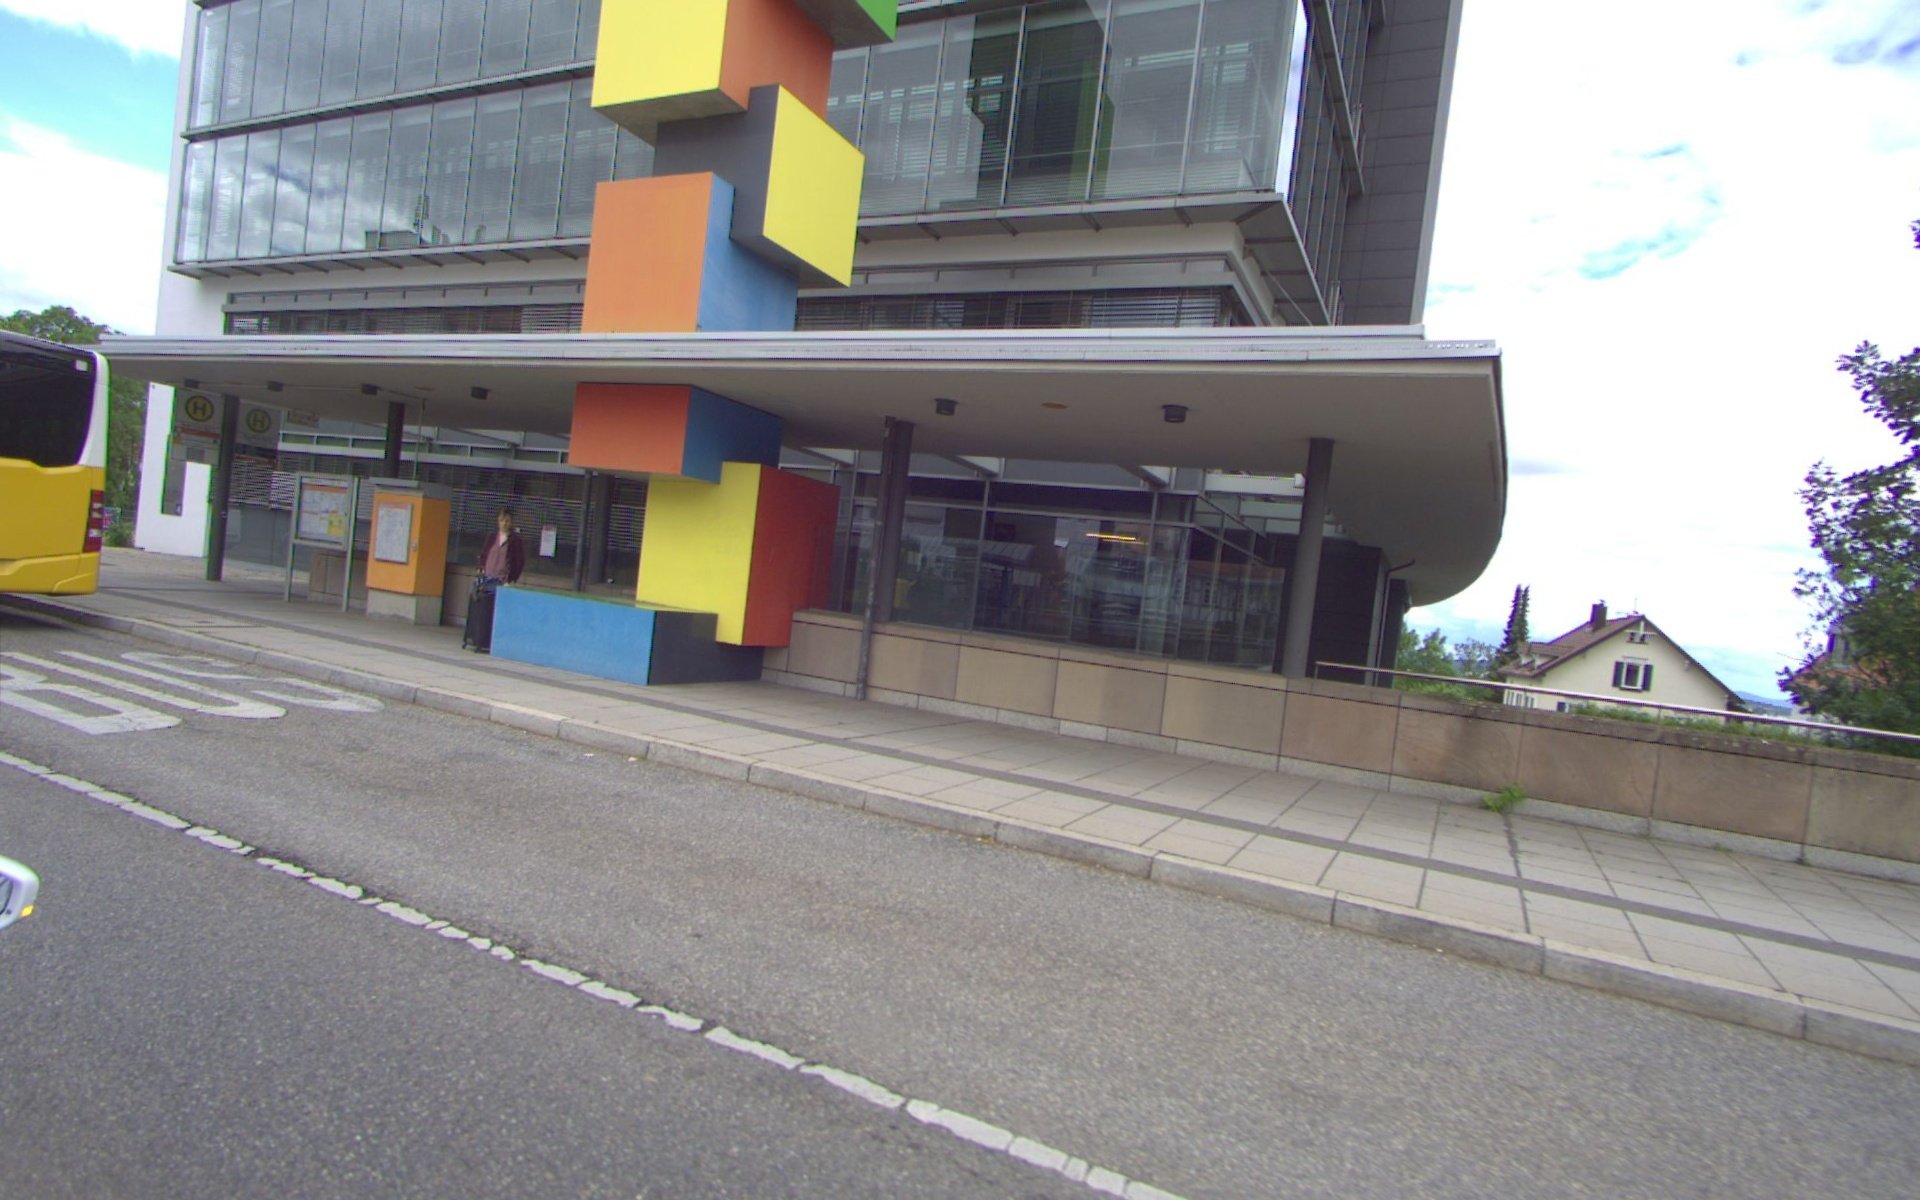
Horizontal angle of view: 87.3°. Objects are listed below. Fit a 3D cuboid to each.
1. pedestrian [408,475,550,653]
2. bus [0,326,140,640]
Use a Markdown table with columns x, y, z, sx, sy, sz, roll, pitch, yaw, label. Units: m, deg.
| x | y | z | sx | sy | sz | roll | pitch | yaw | label |
| --- | --- | --- | --- | --- | --- | --- | --- | --- | --- |
| -5.898 | -0.416 | 12.366 | 0.865 | 2.040 | 1.141 | 7 | 2 | 29 | pedestrian |
| -13.640 | -1.609 | 12.045 | 8.717 | 3.149 | 2.716 | 6 | 1 | 29 | bus |
